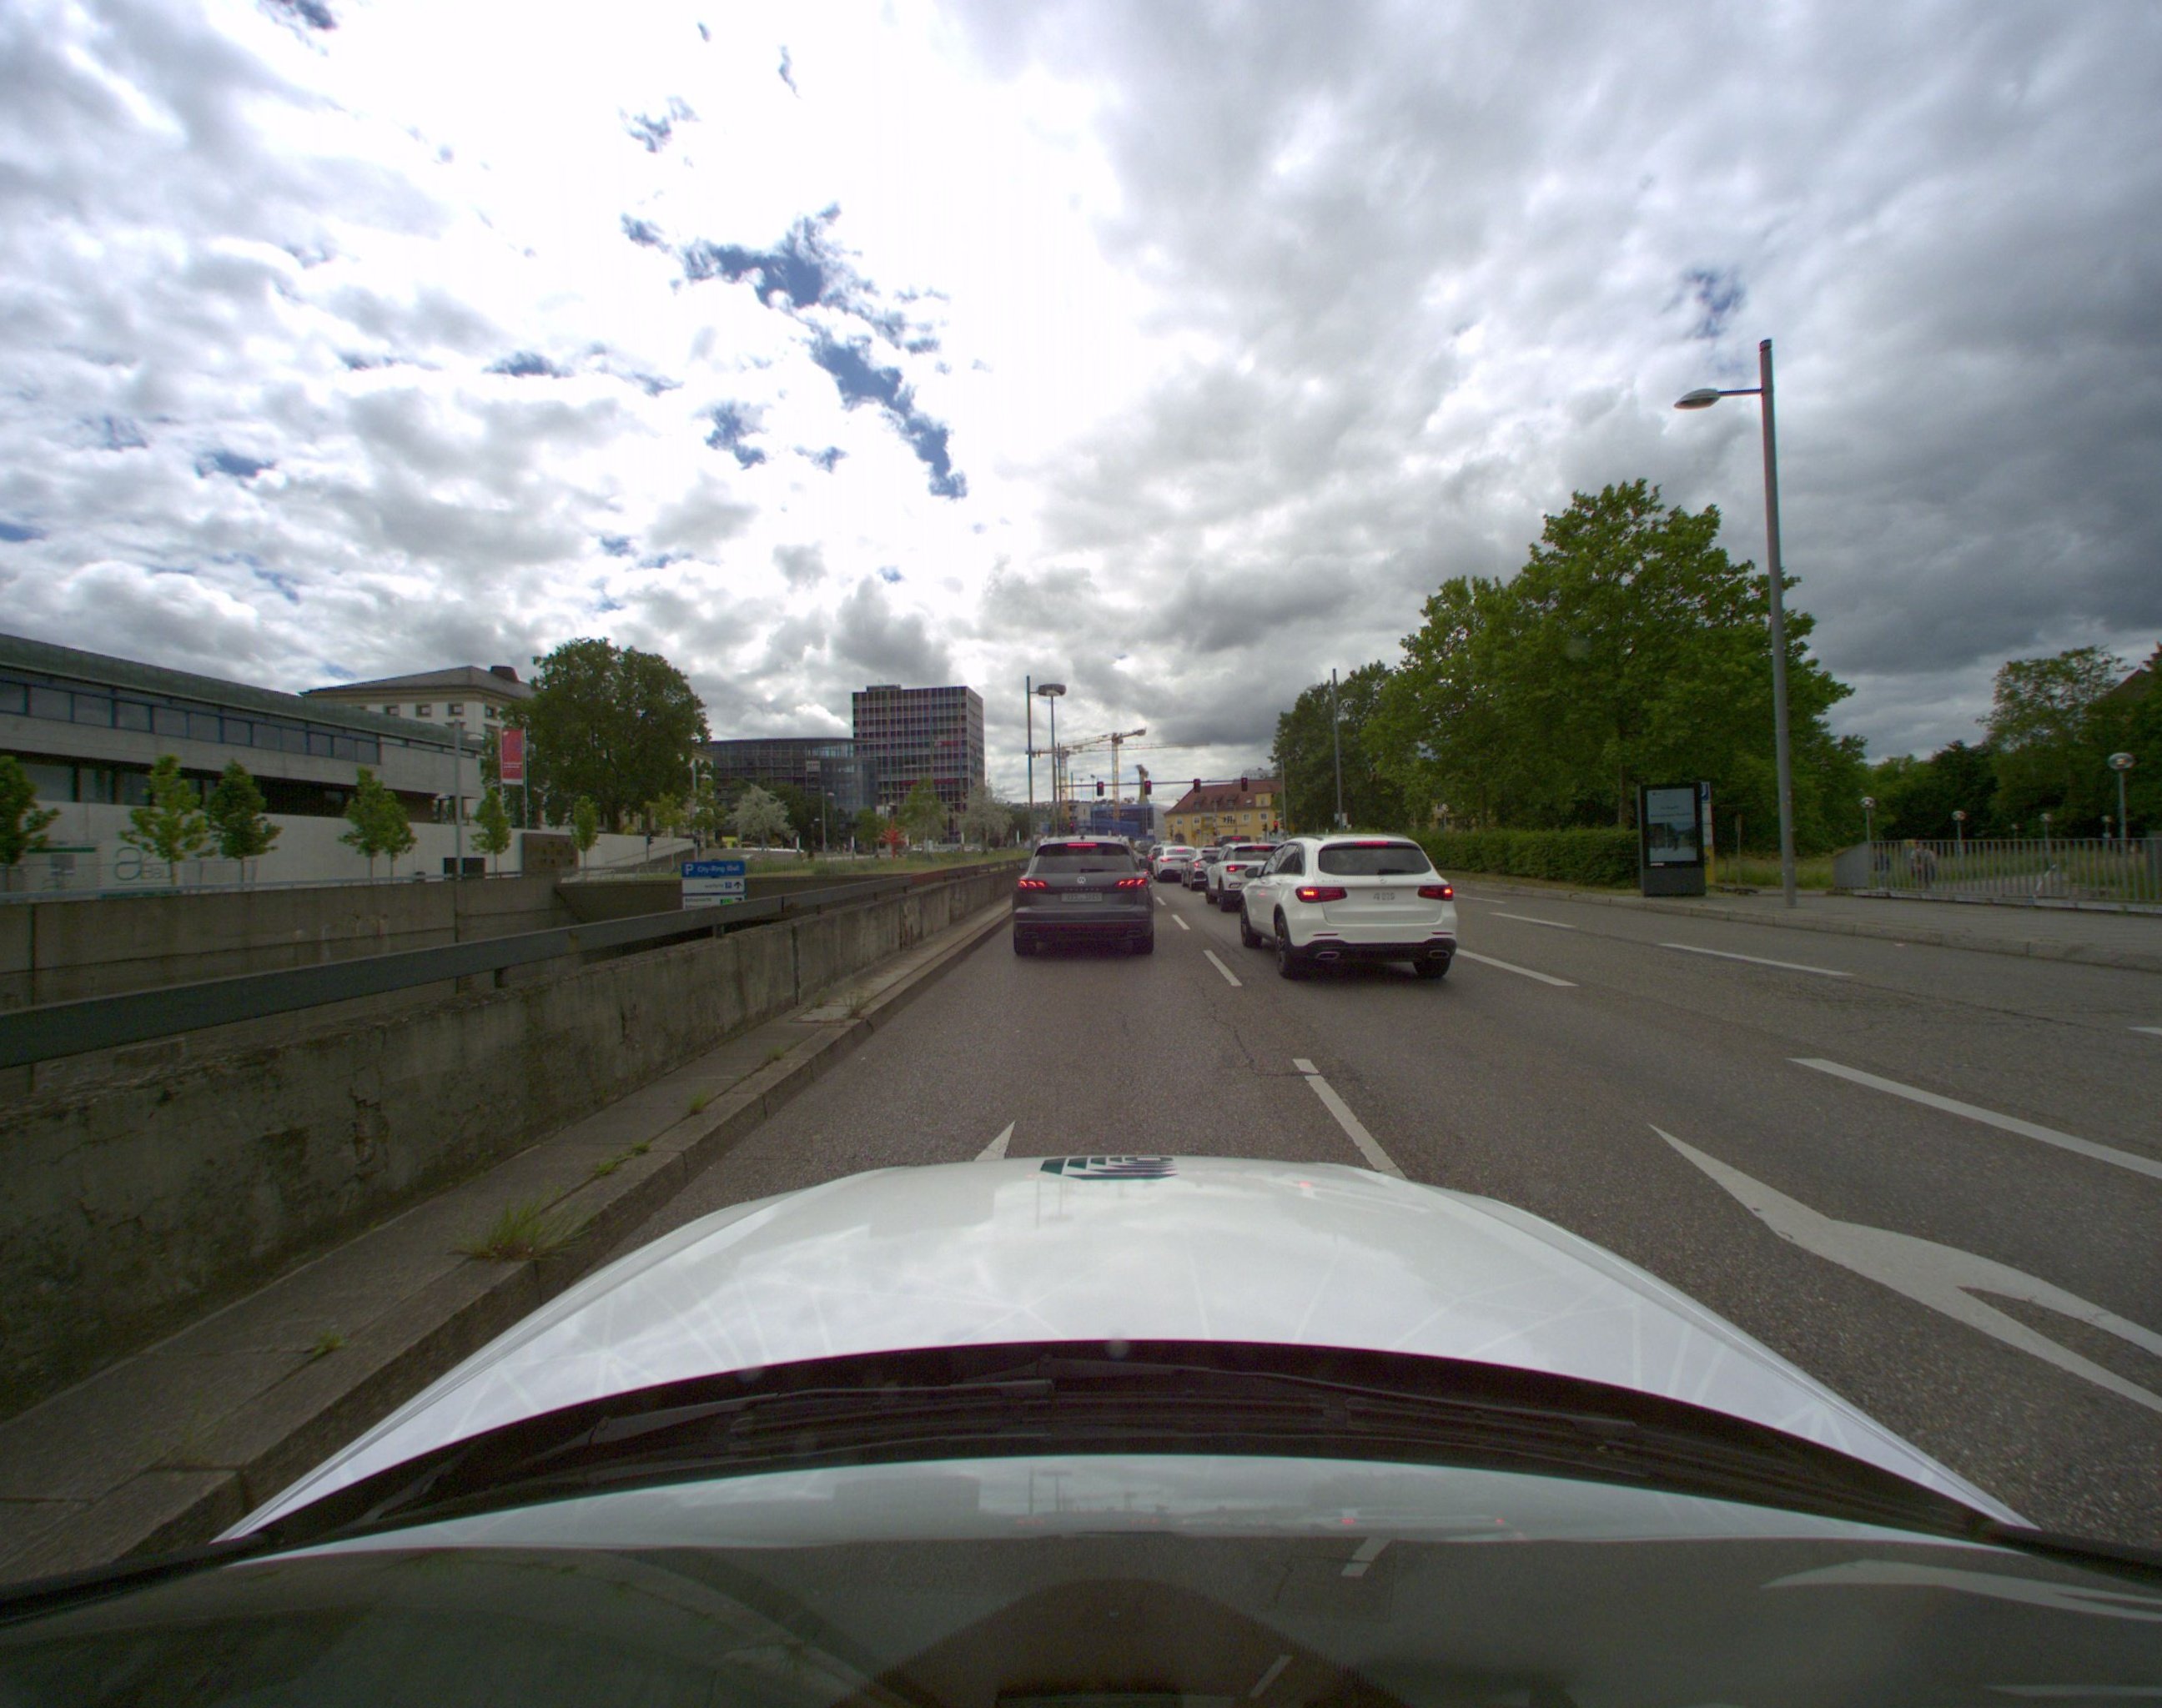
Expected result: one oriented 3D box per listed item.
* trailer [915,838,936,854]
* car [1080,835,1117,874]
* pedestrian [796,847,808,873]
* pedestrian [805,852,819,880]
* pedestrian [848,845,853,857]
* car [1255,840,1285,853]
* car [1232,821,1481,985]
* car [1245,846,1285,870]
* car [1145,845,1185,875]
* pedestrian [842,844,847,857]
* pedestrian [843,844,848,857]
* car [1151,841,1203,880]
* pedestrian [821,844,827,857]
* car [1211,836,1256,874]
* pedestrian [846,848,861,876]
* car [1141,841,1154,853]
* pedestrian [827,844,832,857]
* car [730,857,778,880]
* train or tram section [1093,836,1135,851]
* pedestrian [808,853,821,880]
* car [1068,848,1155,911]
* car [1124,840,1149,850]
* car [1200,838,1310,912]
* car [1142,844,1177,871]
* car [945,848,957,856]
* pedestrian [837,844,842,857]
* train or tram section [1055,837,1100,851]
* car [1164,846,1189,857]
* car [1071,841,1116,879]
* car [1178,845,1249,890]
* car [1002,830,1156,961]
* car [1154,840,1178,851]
[{"bbox_3d":[-25.110,-1.349,131.571,2.030,2.604,5.511,0,1,2],"label":"trailer"},{"bbox_3d":[0.976,-0.011,44.431,1.944,2.018,3.932,0,0,1],"label":"car"},{"bbox_3d":[-22.486,0.490,65.649,0.729,2.012,0.628,-2,5,-6],"label":"pedestrian"},{"bbox_3d":[-20.097,0.901,60.871,0.794,2.013,0.830,-2,1,-26],"label":"pedestrian"},{"bbox_3d":[-37.918,-0.537,133.989,0.740,2.013,1.108,-2,1,-18],"label":"pedestrian"},{"bbox_3d":[28.731,-1.111,123.859,3.948,2.014,2.013,0,-1,36],"label":"car"},{"bbox_3d":[3.244,0.478,10.611,1.918,1.653,4.493,-1,1,3],"label":"car"},{"bbox_3d":[11.580,0.223,51.398,1.751,1.447,3.633,0,0,0],"label":"car"},{"bbox_3d":[4.441,0.307,43.513,1.918,1.529,4.051,-1,0,3],"label":"car"},{"bbox_3d":[-38.428,-0.573,132.421,0.740,2.013,0.788,-2,1,-18],"label":"pedestrian"},{"bbox_3d":[-38.792,-0.550,134.319,0.740,2.013,0.788,-2,1,-18],"label":"pedestrian"},{"bbox_3d":[4.025,0.282,34.696,1.918,1.529,4.493,-1,0,3],"label":"car"},{"bbox_3d":[-42.035,-0.594,133.185,0.740,2.013,0.788,-2,1,-18],"label":"pedestrian"},{"bbox_3d":[8.292,0.054,44.641,1.902,2.013,4.015,0,0,3],"label":"car"},{"bbox_3d":[-17.048,0.583,60.968,0.857,2.013,0.629,-2,1,1],"label":"pedestrian"},{"bbox_3d":[9.544,-1.050,117.136,1.612,1.627,4.002,0,-1,3],"label":"car"},{"bbox_3d":[-40.999,-0.591,132.757,0.740,2.013,0.788,-2,1,-18],"label":"pedestrian"},{"bbox_3d":[-28.905,1.285,72.179,2.167,1.854,4.737,-1,0,1],"label":"car"},{"bbox_3d":[6.925,-2.240,172.407,8.835,3.009,2.613,0,-1,37],"label":"train or tram section"},{"bbox_3d":[-20.146,0.911,61.586,0.794,2.013,0.830,-2,1,-26],"label":"pedestrian"},{"bbox_3d":[0.730,0.560,20.273,1.944,1.384,3.932,0,0,1],"label":"car"},{"bbox_3d":[9.692,-1.517,142.401,4.060,1.610,1.841,0,-1,37],"label":"car"},{"bbox_3d":[4.030,0.452,19.584,1.918,1.550,4.493,-1,0,3],"label":"car"},{"bbox_3d":[4.746,0.213,49.798,1.918,1.529,4.051,-1,0,3],"label":"car"},{"bbox_3d":[-26.096,-0.328,163.667,1.727,1.495,3.594,1,-1,0],"label":"car"},{"bbox_3d":[-39.195,-0.585,132.039,0.740,2.013,1.108,-2,1,-18],"label":"pedestrian"},{"bbox_3d":[-0.855,-2.207,177.947,10.294,3.009,2.613,0,-1,35],"label":"train or tram section"},{"bbox_3d":[18.242,-0.490,154.969,4.403,2.014,1.713,0,-1,35],"label":"car"},{"bbox_3d":[0.592,0.242,36.825,1.944,1.599,3.932,0,0,1],"label":"car"},{"bbox_3d":[4.451,0.432,27.957,1.918,1.432,4.493,-1,0,3],"label":"car"},{"bbox_3d":[0.028,0.520,12.470,1.944,1.651,4.001,-1,0,1],"label":"car"},{"bbox_3d":[16.845,-1.620,161.466,4.403,2.014,2.013,0,-1,35],"label":"car"}]
